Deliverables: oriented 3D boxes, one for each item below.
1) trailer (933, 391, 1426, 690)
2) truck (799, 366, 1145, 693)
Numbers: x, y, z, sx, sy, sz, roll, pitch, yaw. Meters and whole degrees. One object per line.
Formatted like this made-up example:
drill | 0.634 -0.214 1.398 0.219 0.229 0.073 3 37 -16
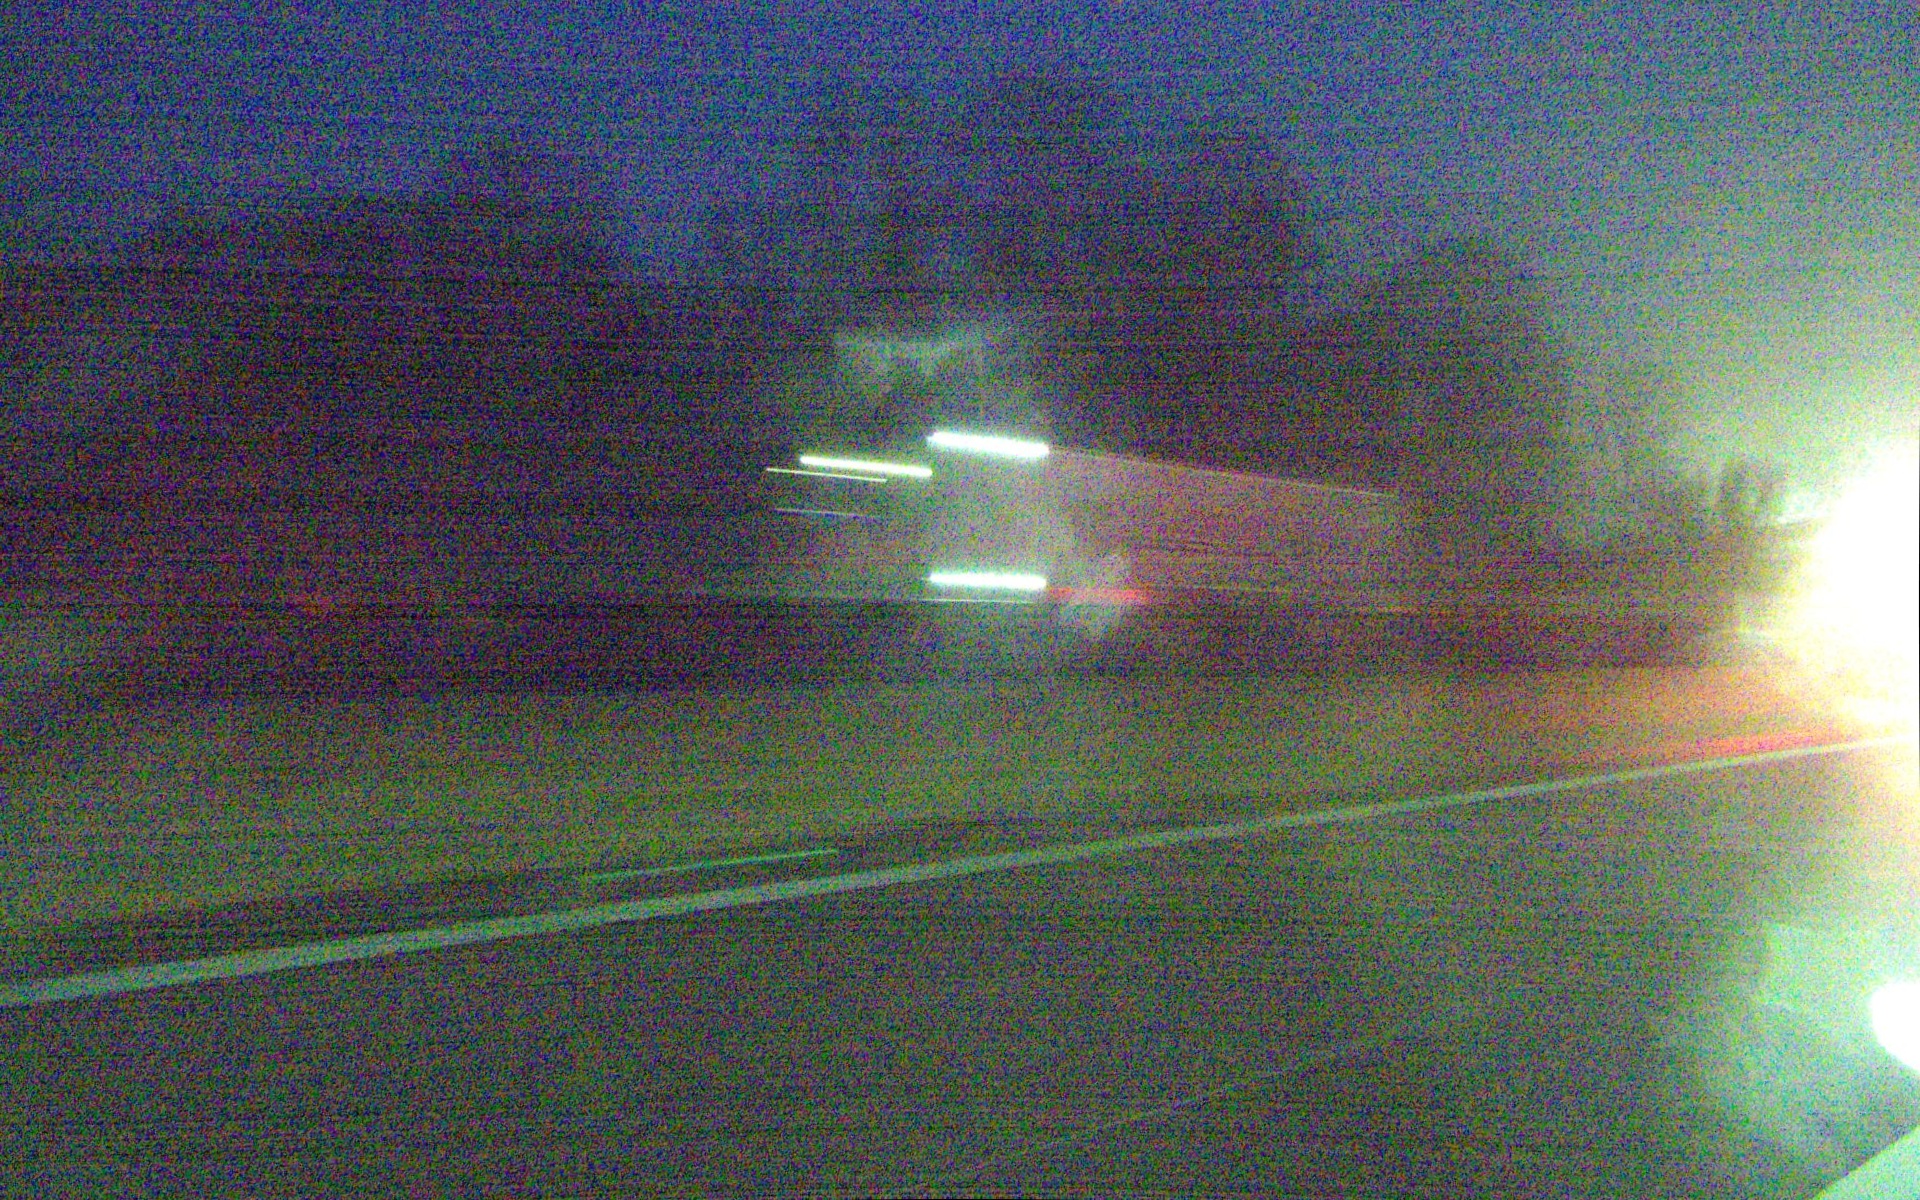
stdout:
trailer | 6.112 -1.017 25.104 14.019 5.973 2.892 2 0 -33
truck | 0.368 -1.206 21.417 6.805 5.973 2.887 2 0 -33
